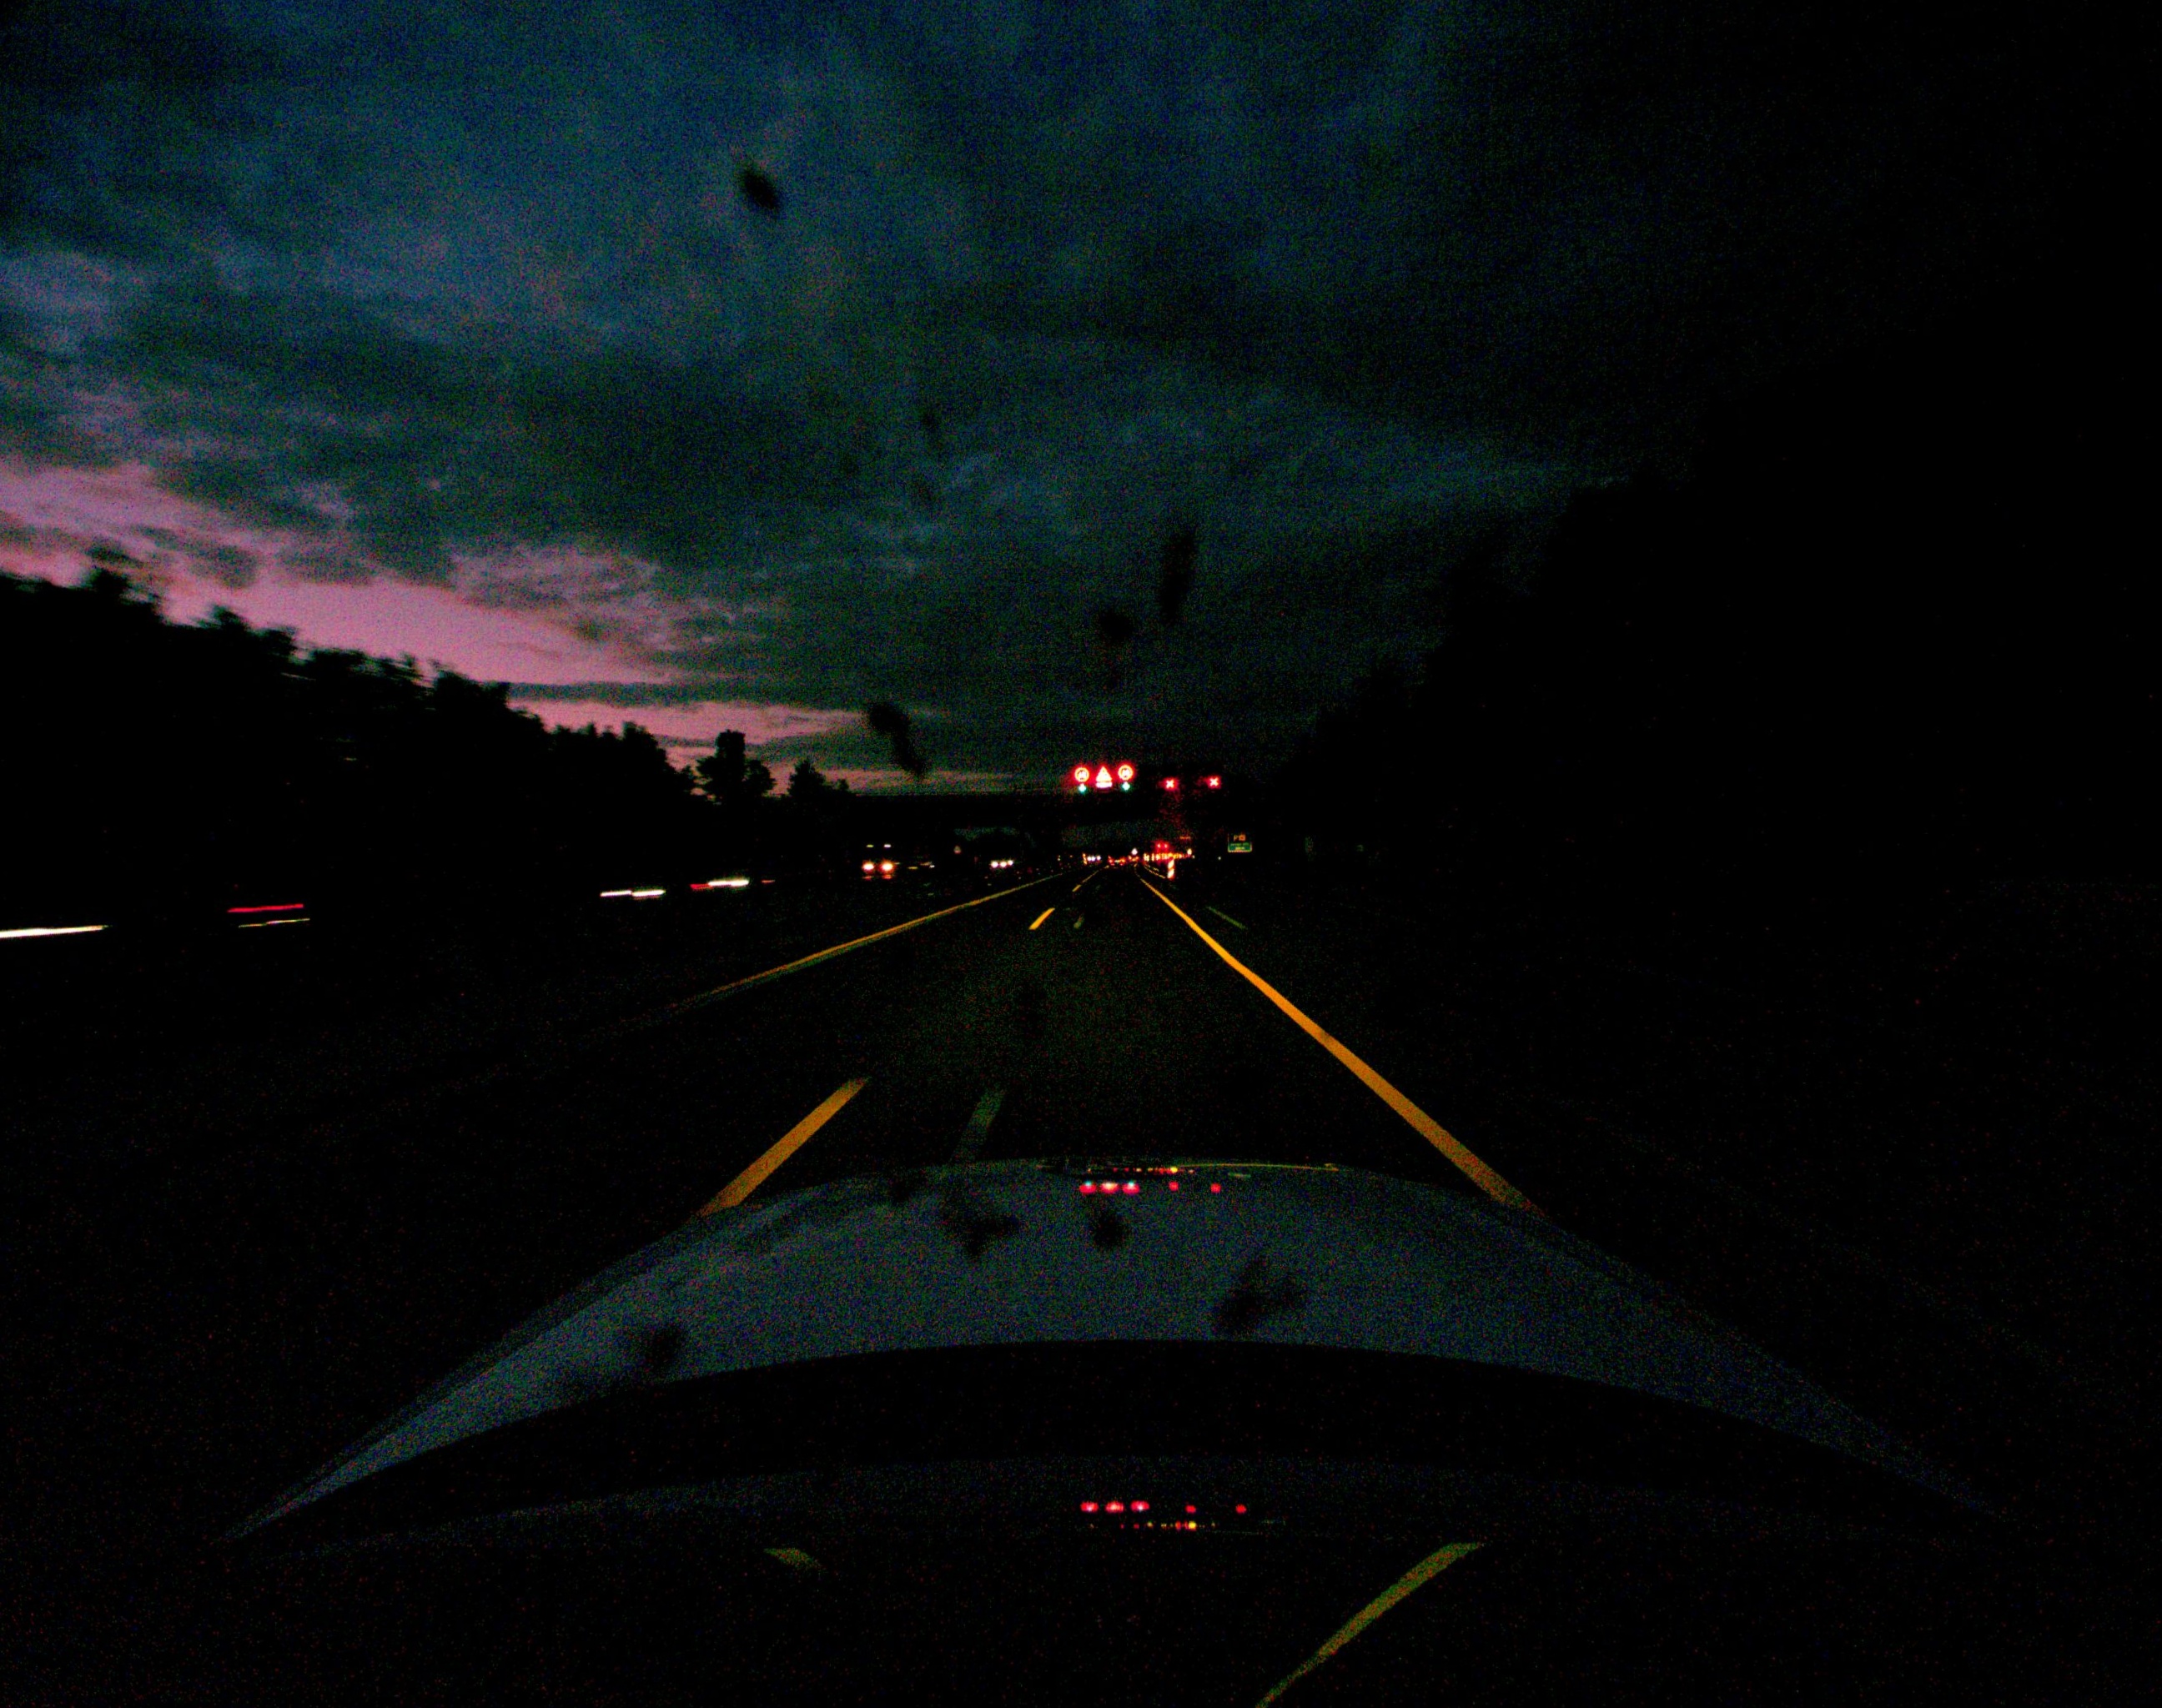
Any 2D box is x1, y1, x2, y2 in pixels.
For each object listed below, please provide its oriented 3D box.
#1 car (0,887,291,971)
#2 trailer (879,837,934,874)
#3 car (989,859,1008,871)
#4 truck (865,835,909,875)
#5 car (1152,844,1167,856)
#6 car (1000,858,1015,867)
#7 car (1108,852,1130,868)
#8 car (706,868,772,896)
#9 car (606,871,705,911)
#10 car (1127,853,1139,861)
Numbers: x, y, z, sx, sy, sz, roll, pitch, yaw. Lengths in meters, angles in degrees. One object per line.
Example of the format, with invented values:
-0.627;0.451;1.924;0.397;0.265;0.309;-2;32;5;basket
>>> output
-23.252;1.741;20.358;1.729;1.638;5.175;0;0;3;car
-20.531;0.200;96.744;2.766;4.206;12.418;0;0;5;trailer
-12.236;1.594;121.025;1.984;1.675;4.521;0;0;5;car
-21.180;0.135;89.082;2.764;4.171;6.394;0;0;5;truck
22.640;-1.048;235.189;3.591;3.395;8.018;0;0;2;car
-13.169;1.531;146.710;1.985;1.674;4.586;0;0;3;car
4.107;0.652;88.802;2.258;1.621;4.000;0;0;0;car
-21.033;1.687;50.336;1.584;1.604;5.040;0;0;5;car
-19.271;1.614;37.143;1.729;1.638;4.895;0;0;3;car
9.586;0.498;149.646;1.962;1.437;4.006;0;0;6;car
